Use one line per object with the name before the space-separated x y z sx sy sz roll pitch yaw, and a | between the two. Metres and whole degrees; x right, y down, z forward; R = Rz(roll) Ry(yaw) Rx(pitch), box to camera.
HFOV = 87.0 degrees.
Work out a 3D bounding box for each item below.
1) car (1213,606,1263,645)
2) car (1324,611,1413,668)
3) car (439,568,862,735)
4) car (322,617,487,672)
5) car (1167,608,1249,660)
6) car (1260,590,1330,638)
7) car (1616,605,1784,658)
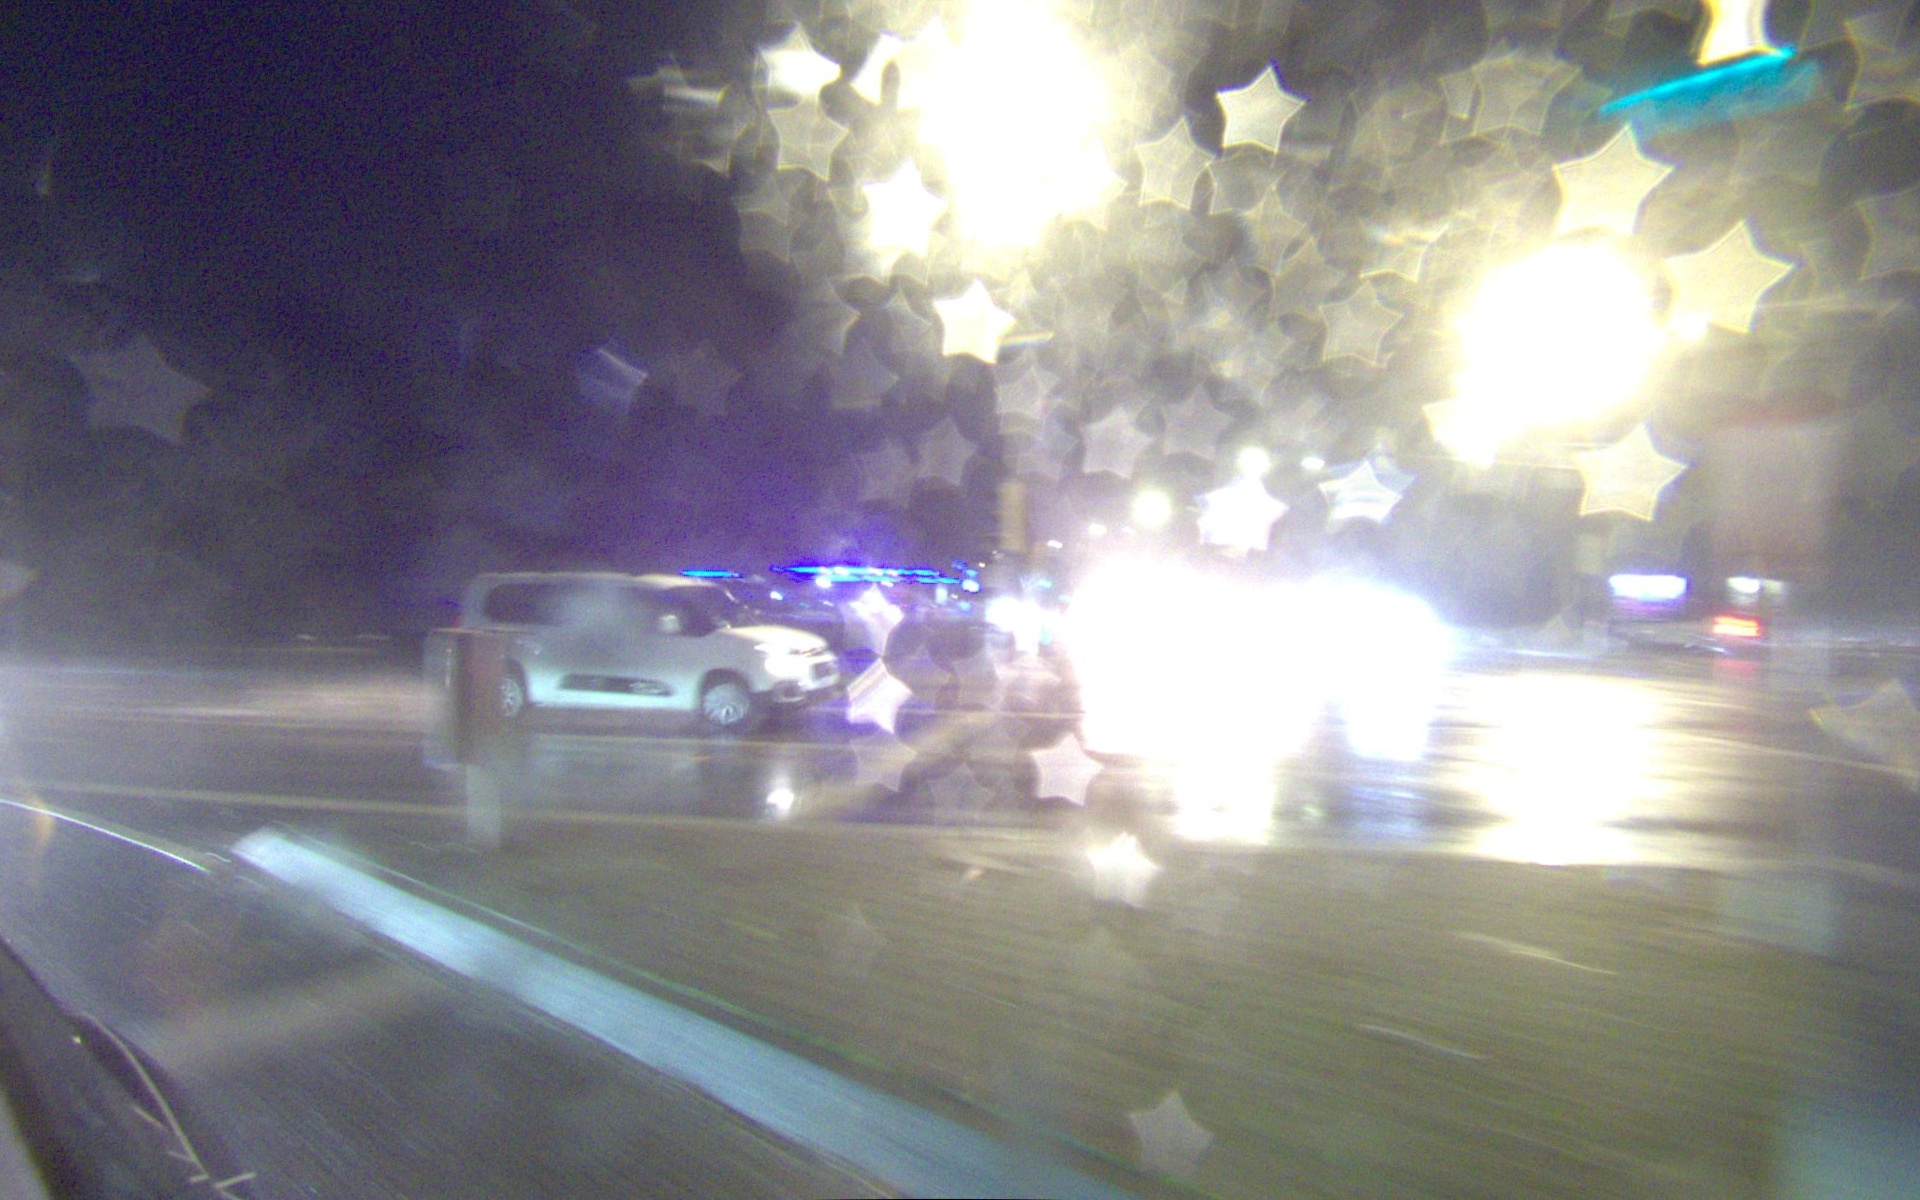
car | 14.912 1.321 54.479 1.689 1.952 3.610 0 1 0
car | 14.949 1.393 37.263 1.644 1.867 4.146 0 1 1
car | -3.750 0.590 12.529 4.675 1.807 1.991 -1 0 14
car | -15.885 1.254 29.006 3.986 1.425 1.722 -1 1 12
car | 8.884 1.183 36.551 1.931 1.645 4.258 0 1 1
car | 14.948 0.581 45.348 1.769 2.039 4.146 0 1 1
car | 23.837 0.956 32.778 1.804 1.485 4.051 -1 2 -23
